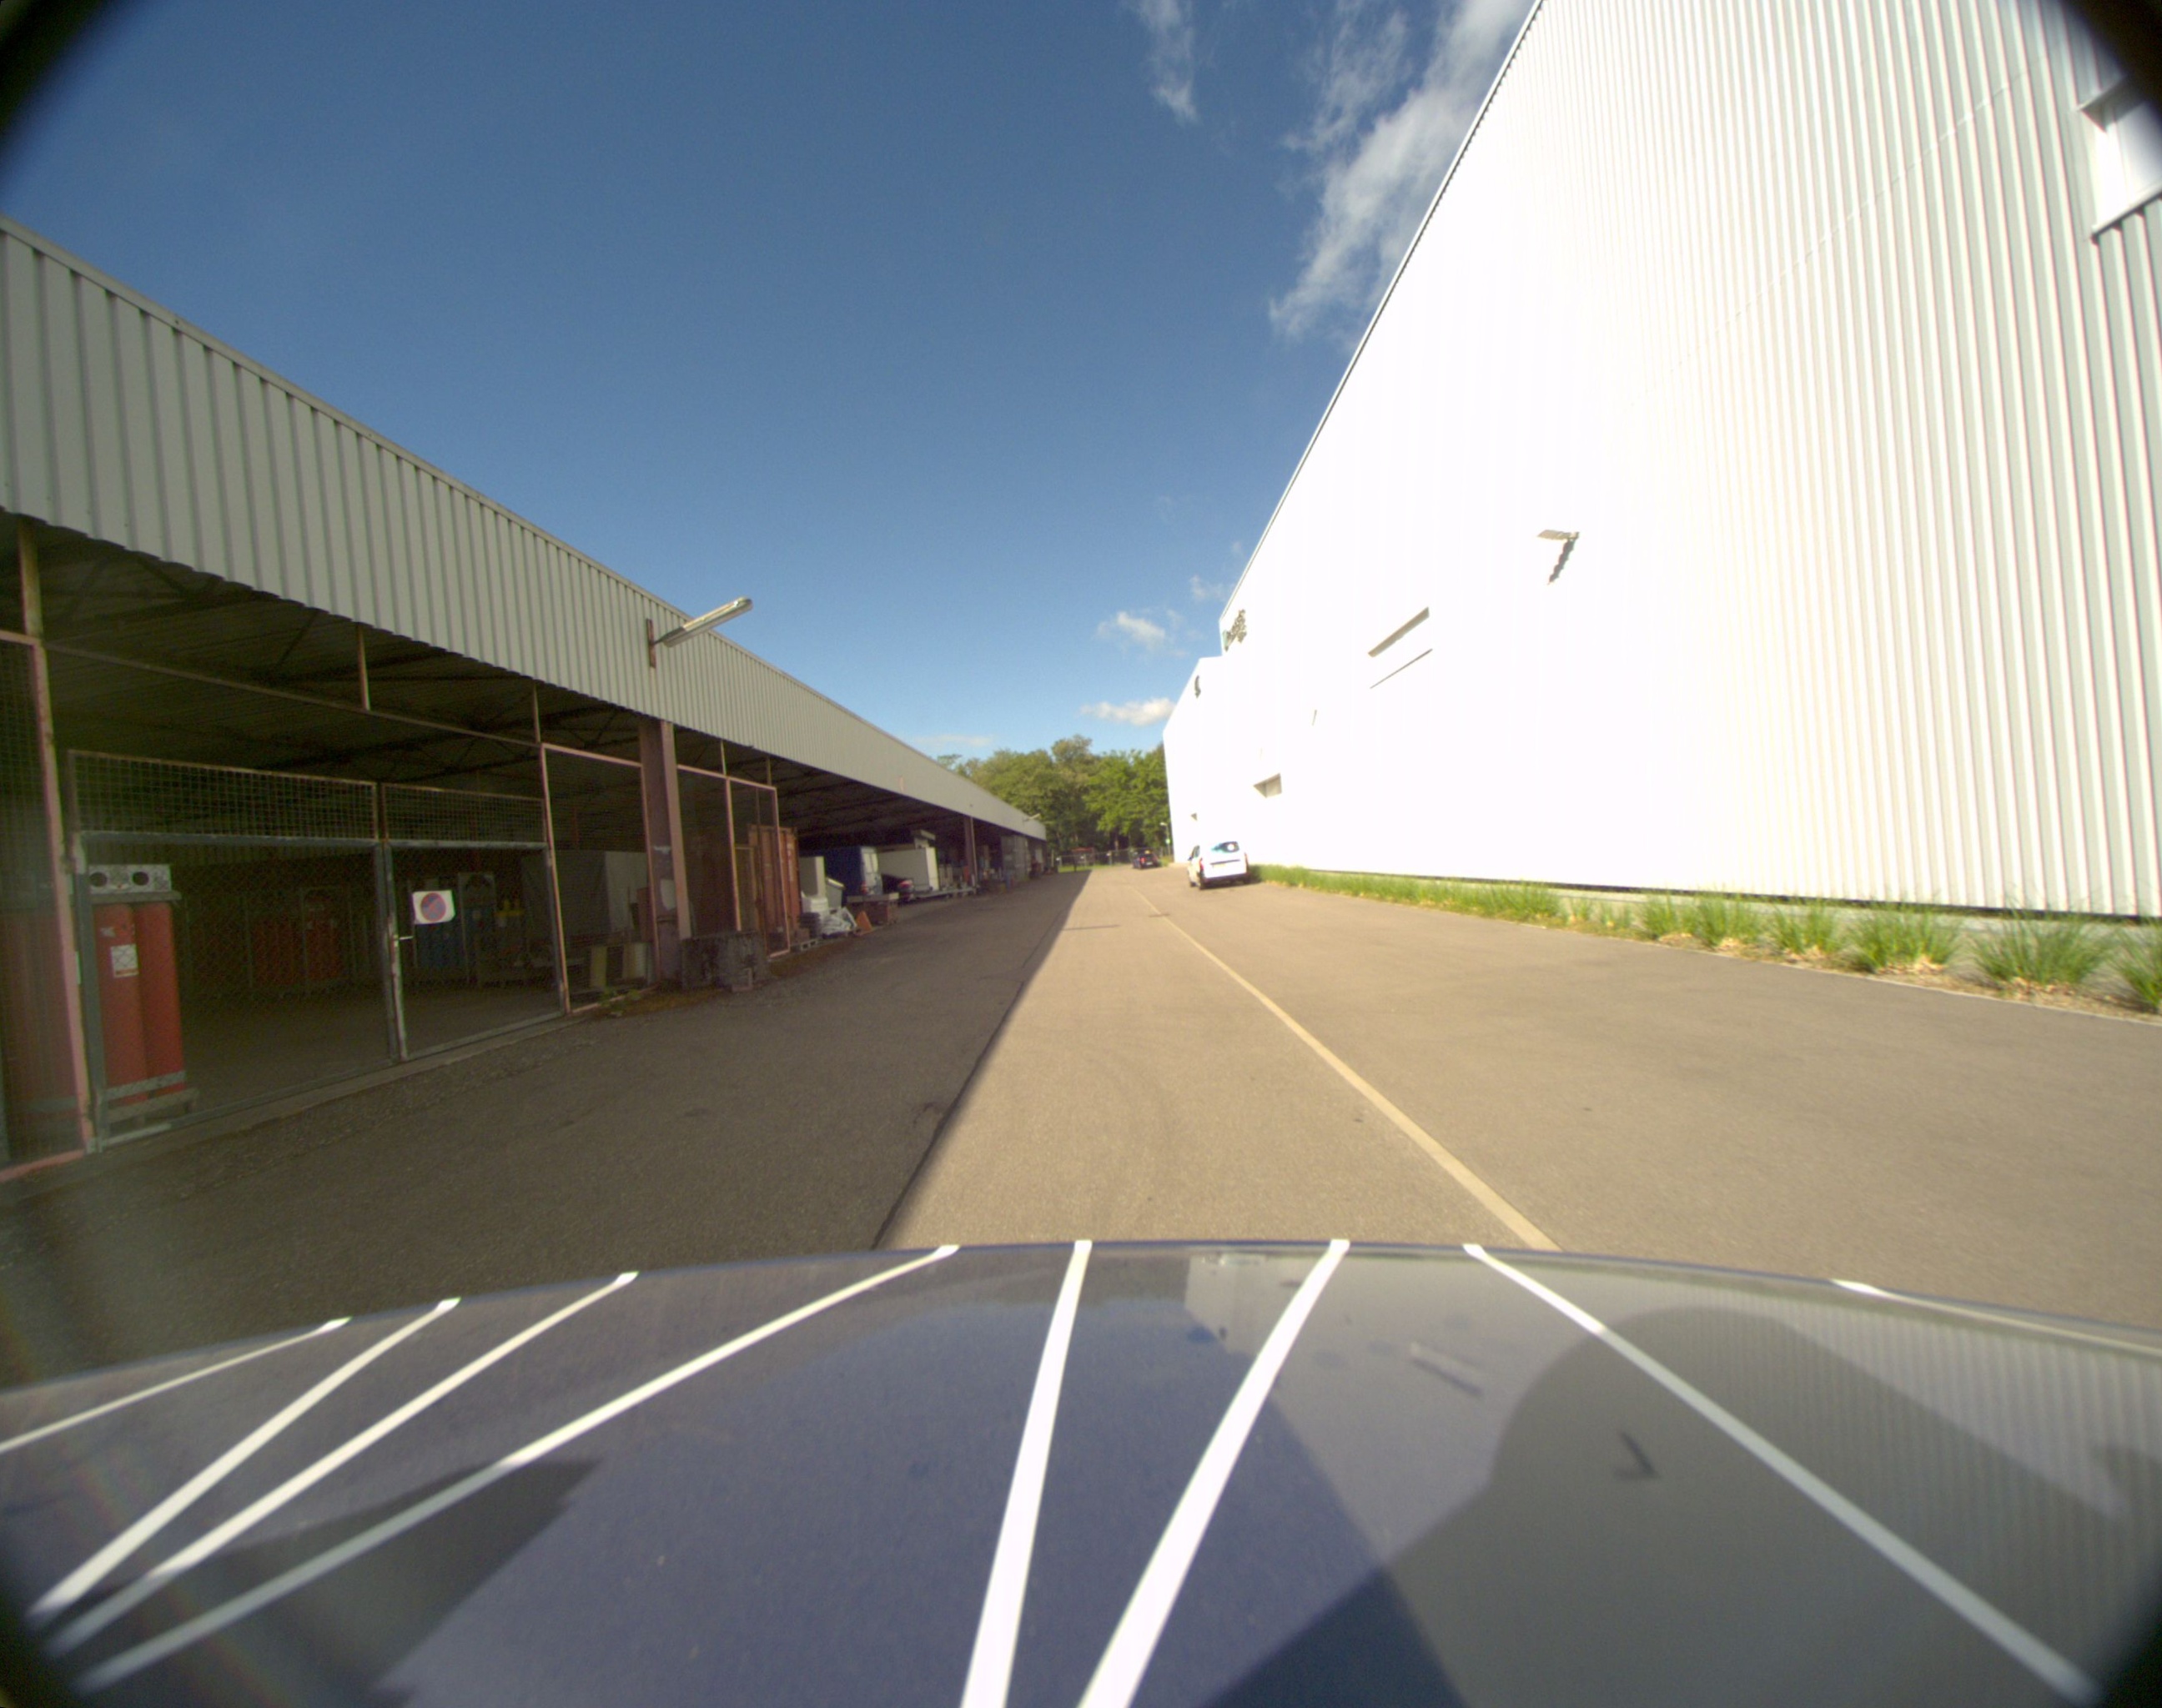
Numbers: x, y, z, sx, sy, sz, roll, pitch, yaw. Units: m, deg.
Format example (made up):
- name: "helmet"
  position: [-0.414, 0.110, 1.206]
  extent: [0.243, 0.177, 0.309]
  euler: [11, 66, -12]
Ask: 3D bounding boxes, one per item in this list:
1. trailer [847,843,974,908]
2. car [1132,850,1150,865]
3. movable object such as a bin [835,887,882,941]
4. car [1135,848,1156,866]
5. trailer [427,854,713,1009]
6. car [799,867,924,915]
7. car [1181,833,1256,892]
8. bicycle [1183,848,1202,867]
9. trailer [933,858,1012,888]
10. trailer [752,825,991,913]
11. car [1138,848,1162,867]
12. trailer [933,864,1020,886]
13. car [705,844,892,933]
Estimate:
- name: "trailer"
  position: [-7.291, 0.901, 32.687]
  extent: [4.822, 2.377, 1.827]
  euler: [-4, 0, 6]
- name: "car"
  position: [6.476, 0.354, 82.019]
  extent: [1.789, 1.431, 4.001]
  euler: [-4, 0, 3]
- name: "movable object such as a bin"
  position: [-5.305, 1.406, 18.199]
  extent: [0.583, 1.157, 1.238]
  euler: [-4, 0, 5]
- name: "car"
  position: [6.449, 0.314, 76.516]
  extent: [1.789, 1.513, 4.001]
  euler: [-8, 0, 3]
- name: "trailer"
  position: [-8.156, 1.093, 12.697]
  extent: [1.860, 2.046, 4.099]
  euler: [-4, 0, 0]
- name: "car"
  position: [-8.609, 1.434, 30.046]
  extent: [4.340, 1.487, 1.777]
  euler: [-4, 0, -1]
- name: "car"
  position: [5.078, 0.279, 28.617]
  extent: [1.895, 1.835, 4.358]
  euler: [-7, 0, 1]
- name: "bicycle"
  position: [8.126, 0.248, 55.301]
  extent: [0.909, 1.136, 1.901]
  euler: [-8, 0, 17]
- name: "trailer"
  position: [-7.237, 1.232, 50.953]
  extent: [4.879, 1.619, 2.029]
  euler: [-4, 0, 0]
- name: "trailer"
  position: [-9.519, 0.658, 35.244]
  extent: [10.062, 3.197, 2.854]
  euler: [-4, 0, 1]
- name: "car"
  position: [6.453, 0.289, 71.264]
  extent: [1.895, 1.513, 4.001]
  euler: [-8, 0, 3]
- name: "trailer"
  position: [-7.422, 1.513, 54.307]
  extent: [5.837, 1.113, 2.029]
  euler: [-4, 0, 0]
- name: "car"
  position: [-8.787, 1.057, 23.951]
  extent: [4.991, 2.312, 2.000]
  euler: [-5, 0, 2]
